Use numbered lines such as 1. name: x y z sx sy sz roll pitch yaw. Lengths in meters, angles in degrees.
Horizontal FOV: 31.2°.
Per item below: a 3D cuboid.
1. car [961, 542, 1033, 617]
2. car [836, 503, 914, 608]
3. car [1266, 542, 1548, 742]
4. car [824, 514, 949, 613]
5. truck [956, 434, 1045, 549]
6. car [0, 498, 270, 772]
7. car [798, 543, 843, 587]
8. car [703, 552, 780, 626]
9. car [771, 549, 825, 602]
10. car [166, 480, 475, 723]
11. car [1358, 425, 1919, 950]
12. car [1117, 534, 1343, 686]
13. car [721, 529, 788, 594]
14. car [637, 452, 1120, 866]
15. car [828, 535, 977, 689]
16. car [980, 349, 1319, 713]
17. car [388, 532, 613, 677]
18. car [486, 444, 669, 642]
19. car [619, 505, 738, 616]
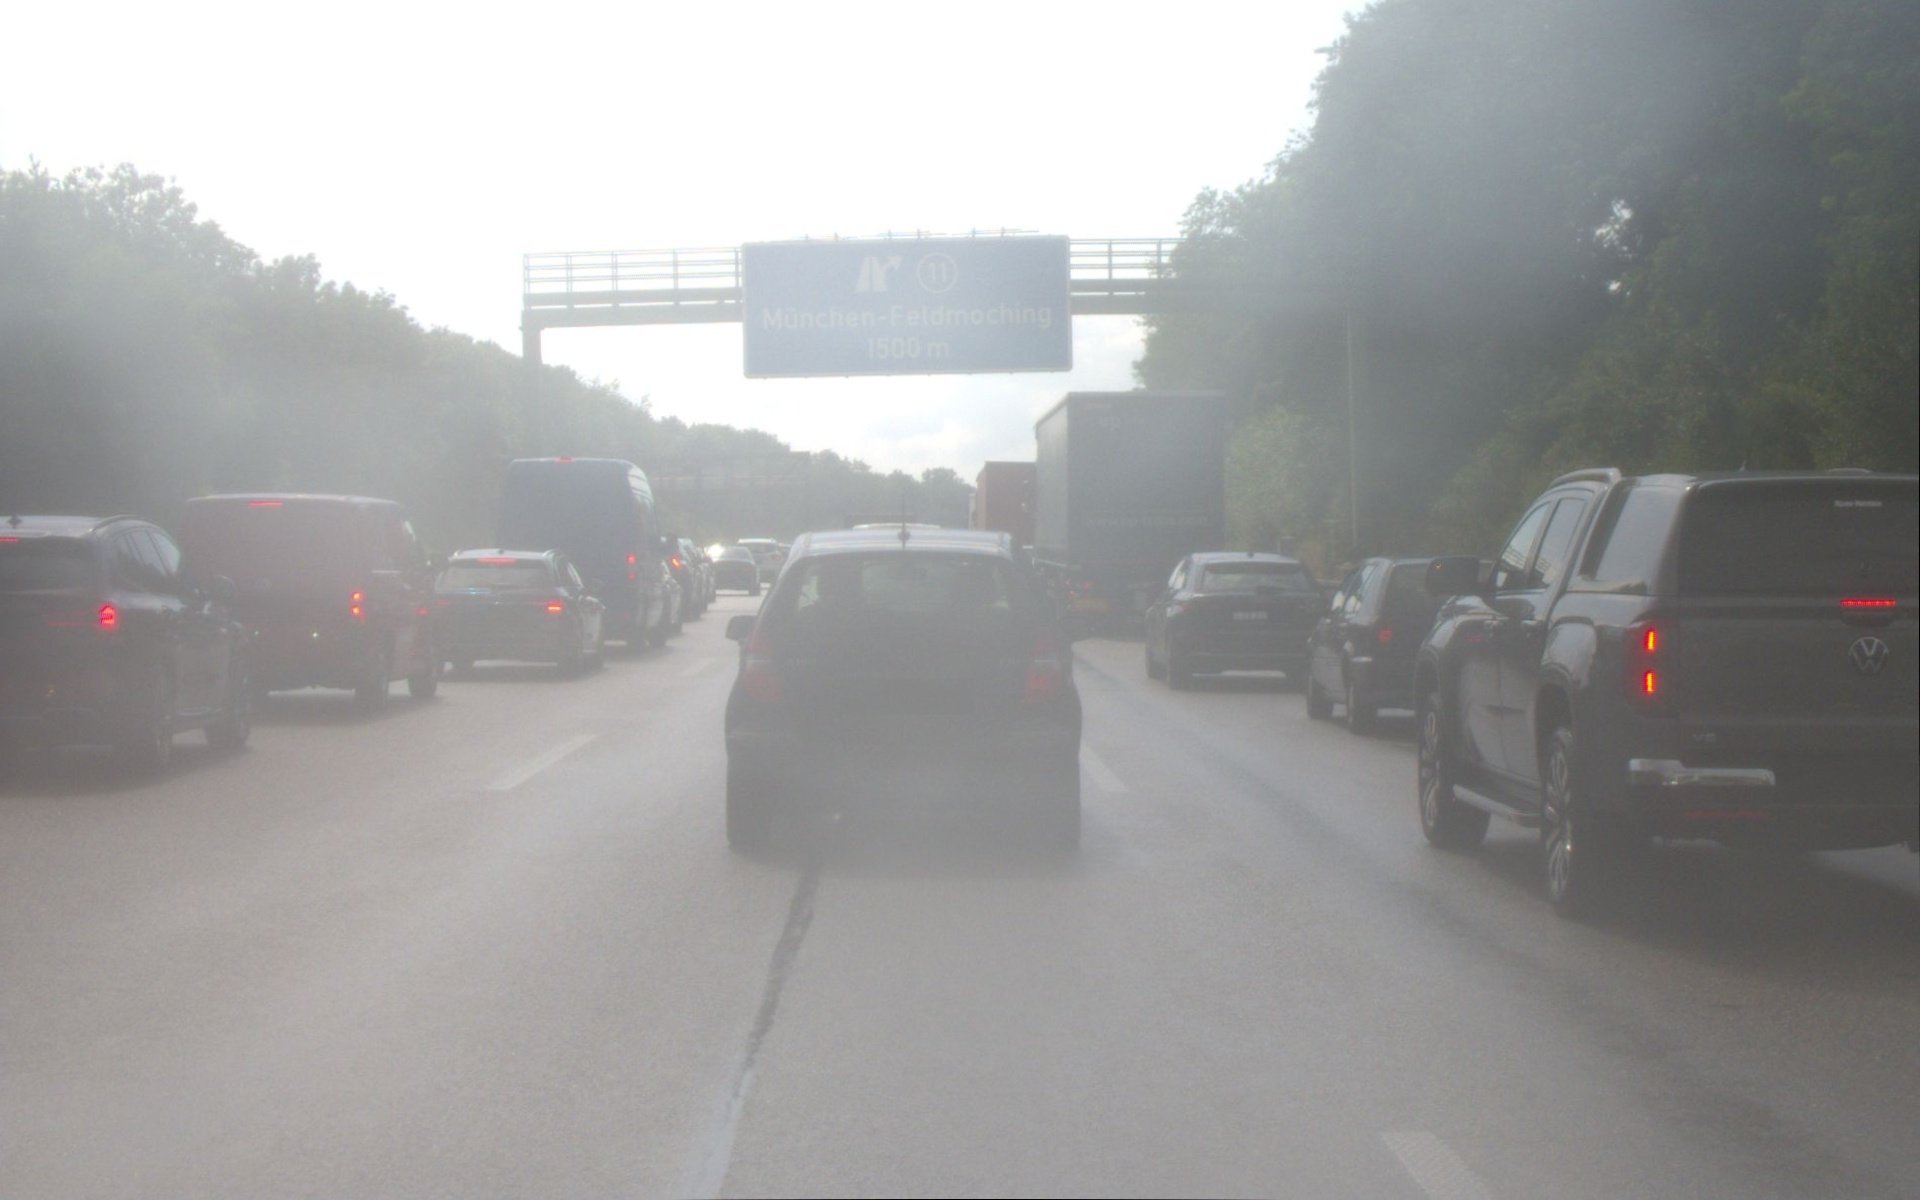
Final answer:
1. car: 1.045 -0.608 99.590 1.993 2.108 4.889 1 1 0
2. car: -2.279 -1.186 92.969 1.993 2.737 5.260 1 1 0
3. car: 3.584 0.298 28.173 1.590 1.511 3.976 1 1 -3
4. car: -1.213 -0.586 55.030 1.864 1.511 3.976 1 1 -3
5. truck: 1.281 -3.505 112.694 2.775 3.619 5.917 1 1 0
6. car: -5.917 0.199 23.126 1.908 1.631 4.617 -2 1 -4
7. car: -6.762 -1.703 166.886 1.993 2.108 4.889 1 1 0
8. car: -6.388 -0.340 100.940 1.993 2.108 4.889 1 1 0
9. car: -6.641 -1.000 141.220 1.993 2.108 4.889 1 1 0
10. car: -5.778 -0.011 31.622 1.978 2.047 4.756 1 1 0
11. car: 3.168 0.297 15.412 1.941 1.912 5.652 1 1 -2
12. car: 2.803 0.080 36.514 1.864 1.511 3.976 1 1 -3
13. car: -6.937 -1.303 116.336 1.993 2.108 4.889 1 1 0
14. car: -0.489 0.257 18.726 2.274 1.948 4.822 1 1 -2
15. car: -0.749 0.120 42.468 1.692 1.798 3.976 1 1 -3
16. car: 3.105 -1.190 63.757 4.403 5.810 16.820 1 1 -3
17. car: -5.234 0.027 39.721 1.993 1.559 4.756 1 1 0
18. car: -5.277 -0.777 48.095 1.993 2.606 5.260 1 1 0
19. car: -5.533 -0.776 68.094 1.993 2.108 4.889 1 1 0
